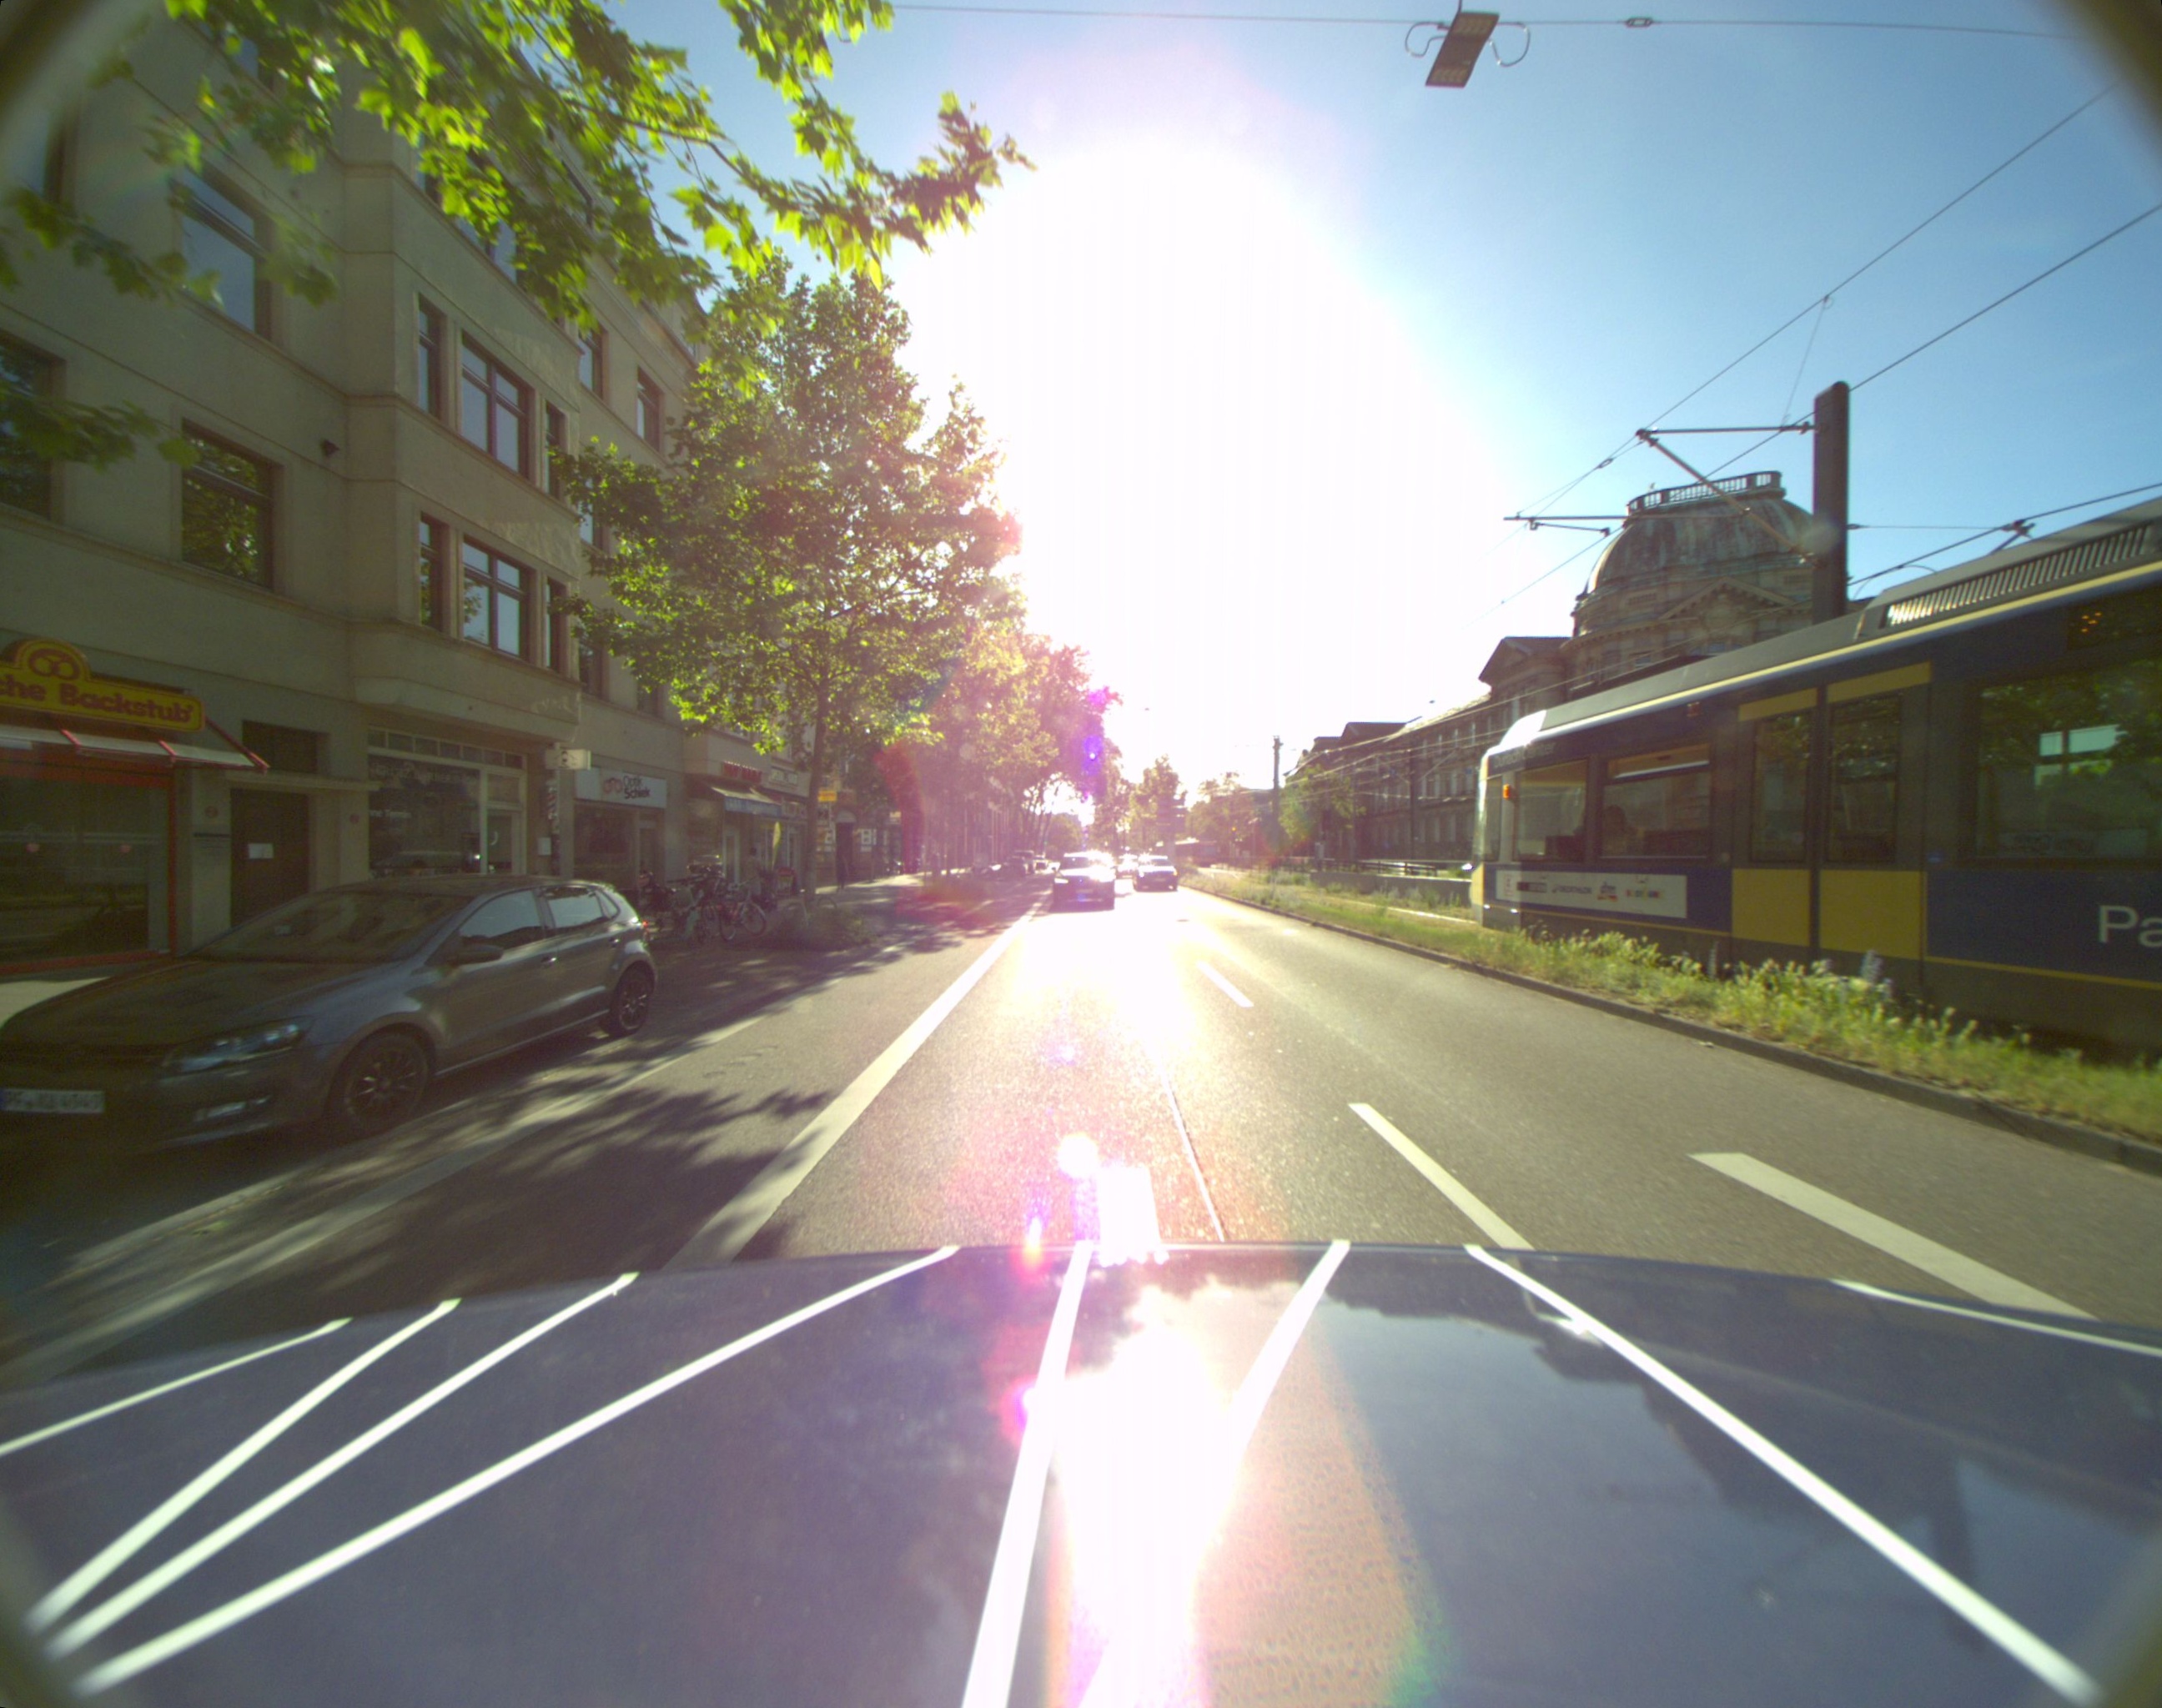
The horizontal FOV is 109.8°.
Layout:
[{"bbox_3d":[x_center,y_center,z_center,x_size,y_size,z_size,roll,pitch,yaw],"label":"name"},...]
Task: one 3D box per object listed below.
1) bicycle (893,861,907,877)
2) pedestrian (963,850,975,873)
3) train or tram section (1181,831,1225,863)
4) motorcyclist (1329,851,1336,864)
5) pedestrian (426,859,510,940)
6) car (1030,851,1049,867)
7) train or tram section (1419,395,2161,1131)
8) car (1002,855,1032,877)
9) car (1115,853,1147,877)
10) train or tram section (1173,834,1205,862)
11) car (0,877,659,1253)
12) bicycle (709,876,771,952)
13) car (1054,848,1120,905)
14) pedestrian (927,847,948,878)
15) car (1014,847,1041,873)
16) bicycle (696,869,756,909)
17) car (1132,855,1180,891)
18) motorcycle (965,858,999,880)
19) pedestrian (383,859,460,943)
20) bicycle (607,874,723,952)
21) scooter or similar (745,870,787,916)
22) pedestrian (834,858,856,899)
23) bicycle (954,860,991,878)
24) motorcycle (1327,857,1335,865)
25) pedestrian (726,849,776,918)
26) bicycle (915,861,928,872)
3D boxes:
[{"bbox_3d":[-11.496,0.932,48.330,0.415,0.992,1.882,-1,1,0],"label":"bicycle"},{"bbox_3d":[-8.858,0.584,59.914,0.644,1.817,0.895,-2,1,7],"label":"pedestrian"},{"bbox_3d":[14.336,-0.779,90.360,2.969,3.463,11.284,-1,0,-2],"label":"train or tram section"},{"bbox_3d":[26.051,0.346,78.802,0.515,1.250,0.691,-2,1,4],"label":"motorcyclist"},{"bbox_3d":[-10.747,0.780,13.351,0.787,1.361,0.857,1,1,1],"label":"pedestrian"},{"bbox_3d":[-4.366,0.507,80.299,1.672,1.561,4.280,-2,0,2],"label":"car"},{"bbox_3d":[7.039,-0.507,5.179,2.936,3.790,14.271,-2,0,0],"label":"train or tram section"},{"bbox_3d":[-4.750,0.843,56.947,1.823,1.506,4.707,-2,0,-1],"label":"car"},{"bbox_3d":[3.185,0.660,49.152,1.798,1.420,4.000,-2,0,1],"label":"car"},{"bbox_3d":[14.049,-0.766,99.086,2.964,3.463,6.058,-1,0,-2],"label":"train or tram section"},{"bbox_3d":[-4.841,0.983,5.232,1.699,1.493,3.801,2,0,0],"label":"car"},{"bbox_3d":[-6.271,1.058,14.042,0.393,1.208,1.902,1,2,-3],"label":"bicycle"},{"bbox_3d":[0.157,0.657,25.124,1.949,1.690,5.305,0,0,0],"label":"car"},{"bbox_3d":[-9.261,0.546,49.096,1.090,2.002,1.046,-1,1,1],"label":"pedestrian"},{"bbox_3d":[-4.509,0.469,64.539,1.861,2.002,4.723,-2,0,0],"label":"car"},{"bbox_3d":[-10.491,1.011,22.572,0.491,1.018,2.622,4,0,0],"label":"bicycle"},{"bbox_3d":[3.252,0.786,33.723,1.777,1.439,3.869,-2,0,1],"label":"car"},{"bbox_3d":[-6.047,0.919,46.508,1.954,1.224,0.515,-2,1,-3],"label":"motorcycle"},{"bbox_3d":[-10.775,0.751,12.444,0.536,1.325,0.820,1,1,1],"label":"pedestrian"},{"bbox_3d":[-7.229,0.989,13.312,0.386,1.200,1.876,-1,0,27],"label":"bicycle"},{"bbox_3d":[-8.421,1.030,20.345,0.746,1.165,0.849,2,1,-3],"label":"scooter or similar"},{"bbox_3d":[-9.504,0.967,30.629,0.683,1.612,0.562,-2,1,-2],"label":"pedestrian"},{"bbox_3d":[-6.757,0.931,47.393,2.228,1.087,0.455,-2,1,2],"label":"bicycle"},{"bbox_3d":[26.037,0.710,79.007,0.369,0.779,1.522,-2,1,3],"label":"motorcycle"},{"bbox_3d":[-8.345,0.736,19.222,0.861,1.695,0.916,1,1,-2],"label":"pedestrian"},{"bbox_3d":[-11.718,0.899,55.769,0.550,0.769,1.662,1,0,0],"label":"bicycle"}]
